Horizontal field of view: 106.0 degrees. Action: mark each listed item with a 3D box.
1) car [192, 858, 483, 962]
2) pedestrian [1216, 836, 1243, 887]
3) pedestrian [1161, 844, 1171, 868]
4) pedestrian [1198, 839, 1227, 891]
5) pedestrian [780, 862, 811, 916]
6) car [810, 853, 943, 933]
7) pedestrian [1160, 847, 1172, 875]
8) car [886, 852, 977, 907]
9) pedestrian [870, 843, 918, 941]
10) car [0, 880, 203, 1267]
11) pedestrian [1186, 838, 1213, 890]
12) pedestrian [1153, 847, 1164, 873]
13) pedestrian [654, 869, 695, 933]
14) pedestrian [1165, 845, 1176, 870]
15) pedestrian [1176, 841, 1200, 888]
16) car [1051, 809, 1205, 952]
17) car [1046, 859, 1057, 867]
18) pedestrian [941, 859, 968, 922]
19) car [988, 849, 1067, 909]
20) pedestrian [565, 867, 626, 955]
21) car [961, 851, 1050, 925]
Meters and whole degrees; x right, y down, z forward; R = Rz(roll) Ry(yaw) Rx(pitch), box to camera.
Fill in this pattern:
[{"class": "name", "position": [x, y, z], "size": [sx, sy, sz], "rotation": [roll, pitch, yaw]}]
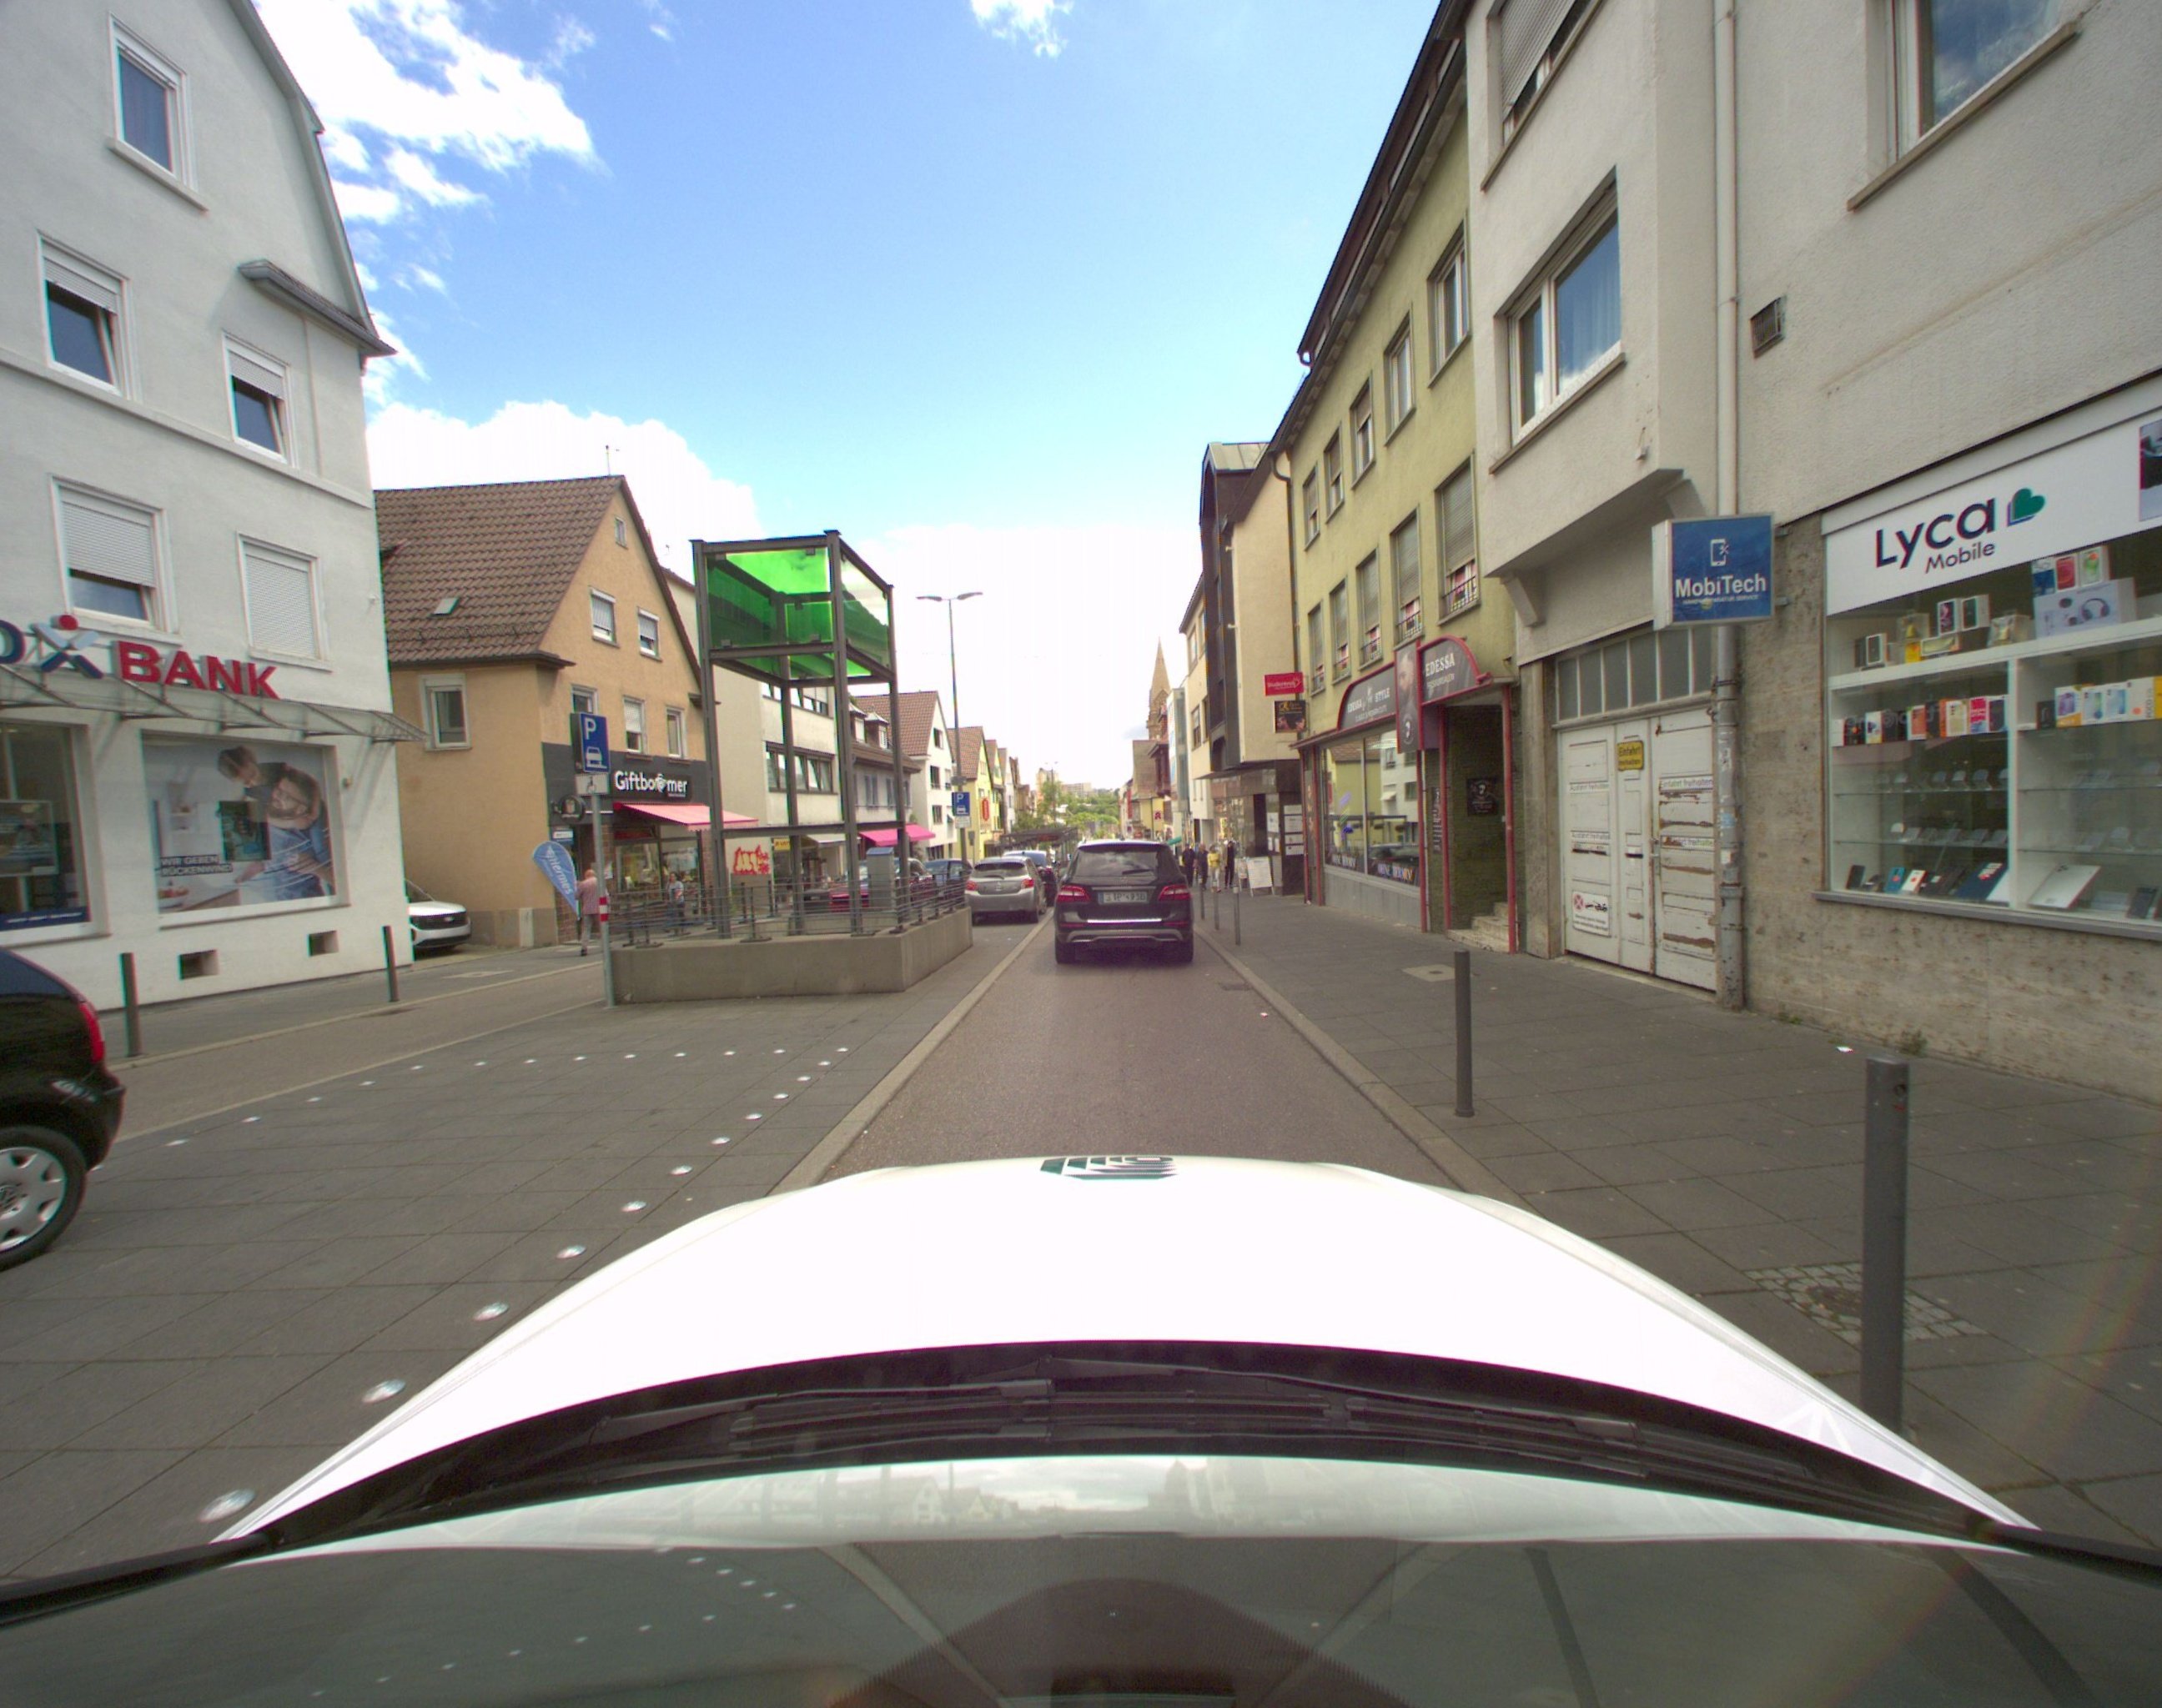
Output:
[{"class": "car", "position": [-14.688, 1.057, 16.268], "size": [4.055, 1.873, 1.884], "rotation": [1, 0, 2]}, {"class": "pedestrian", "position": [5.144, 0.254, 28.298], "size": [0.662, 1.689, 0.542], "rotation": [-6, 0, -5]}, {"class": "pedestrian", "position": [5.886, 0.129, 56.203], "size": [0.572, 1.689, 0.565], "rotation": [0, 0, -5]}, {"class": "pedestrian", "position": [4.302, 0.356, 26.672], "size": [0.708, 1.631, 0.835], "rotation": [-4, 0, 1]}, {"class": "pedestrian", "position": [-9.069, 1.101, 25.832], "size": [0.638, 1.689, 0.670], "rotation": [-2, -1, 41]}, {"class": "car", "position": [-4.302, 0.760, 17.852], "size": [1.732, 1.543, 4.195], "rotation": [-1, 0, 2]}, {"class": "pedestrian", "position": [5.162, 0.398, 49.262], "size": [0.620, 1.689, 0.565], "rotation": [0, 0, -5]}, {"class": "car", "position": [-4.394, 0.695, 24.514], "size": [1.731, 1.475, 3.889], "rotation": [0, 1, 4]}, {"class": "pedestrian", "position": [-3.314, 0.654, 14.491], "size": [0.531, 1.672, 0.902], "rotation": [-2, 0, 5]}, {"class": "car", "position": [-4.961, 0.907, 1.936], "size": [1.565, 1.475, 3.852], "rotation": [-4, 0, -2]}, {"class": "pedestrian", "position": [4.141, 0.346, 28.486], "size": [0.708, 1.753, 0.785], "rotation": [-4, 0, 1]}, {"class": "pedestrian", "position": [5.110, 0.397, 53.908], "size": [0.541, 1.726, 0.527], "rotation": [-3, 0, -5]}, {"class": "pedestrian", "position": [-10.379, 1.189, 20.795], "size": [0.563, 1.573, 0.717], "rotation": [-4, 0, 1]}, {"class": "pedestrian", "position": [6.054, 0.221, 55.282], "size": [0.572, 1.689, 0.565], "rotation": [-4, 0, -5]}, {"class": "pedestrian", "position": [4.165, 0.403, 31.698], "size": [0.708, 1.753, 0.787], "rotation": [-4, 0, 1]}, {"class": "car", "position": [0.611, 0.314, 12.453], "size": [1.894, 1.747, 4.000], "rotation": [-3, 1, 0]}, {"class": "car", "position": [-4.336, 1.321, 120.771], "size": [1.383, 1.070, 3.114], "rotation": [-3, 0, 2]}, {"class": "pedestrian", "position": [-2.970, 0.851, 19.152], "size": [0.464, 1.431, 0.492], "rotation": [-4, 0, 1]}, {"class": "car", "position": [-1.504, 0.687, 24.432], "size": [1.949, 1.639, 4.316], "rotation": [-1, 0, 2]}, {"class": "pedestrian", "position": [-9.662, 1.121, 16.225], "size": [0.636, 1.689, 0.829], "rotation": [-1, 0, 6]}, {"class": "car", "position": [-1.669, 0.722, 19.080], "size": [1.614, 1.532, 3.671], "rotation": [-1, 0, 2]}]
